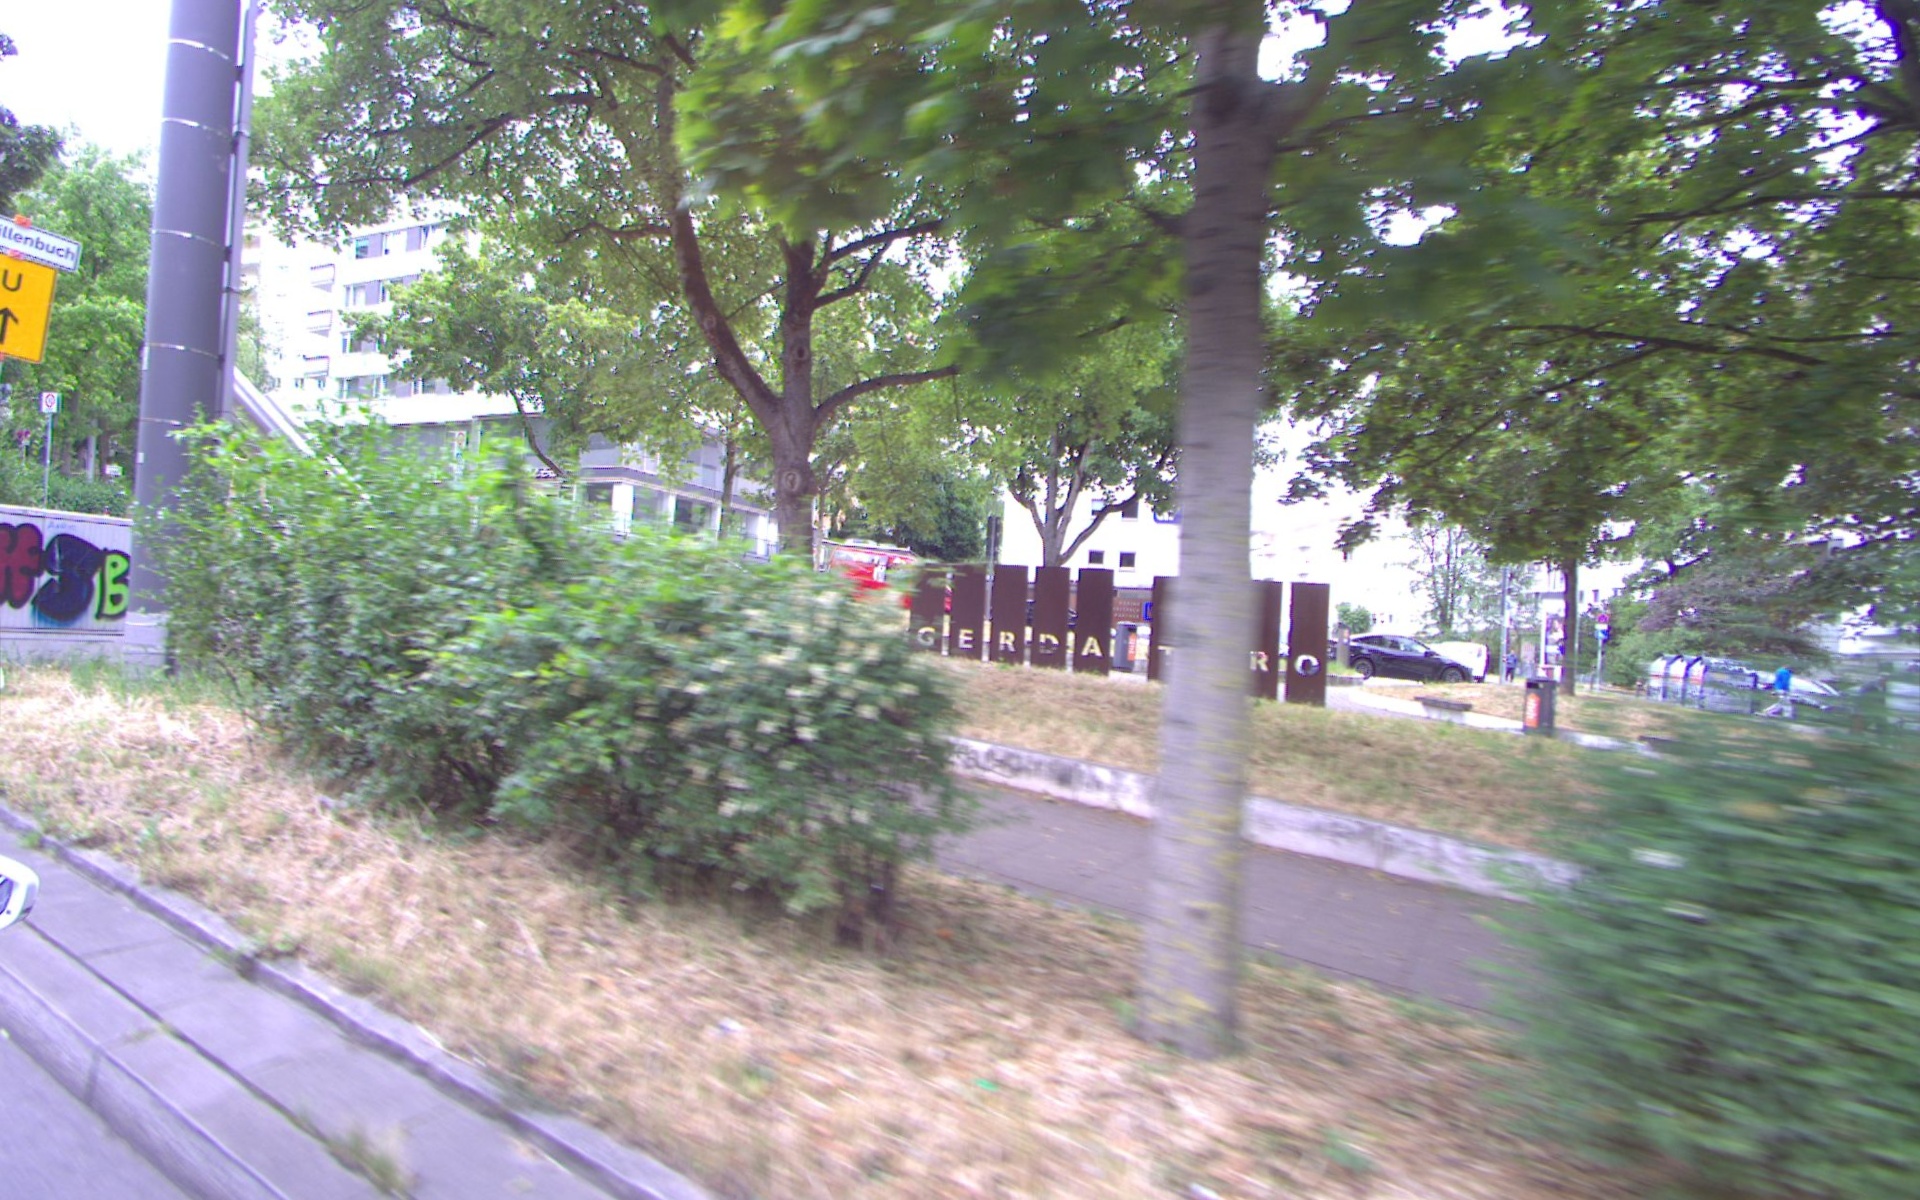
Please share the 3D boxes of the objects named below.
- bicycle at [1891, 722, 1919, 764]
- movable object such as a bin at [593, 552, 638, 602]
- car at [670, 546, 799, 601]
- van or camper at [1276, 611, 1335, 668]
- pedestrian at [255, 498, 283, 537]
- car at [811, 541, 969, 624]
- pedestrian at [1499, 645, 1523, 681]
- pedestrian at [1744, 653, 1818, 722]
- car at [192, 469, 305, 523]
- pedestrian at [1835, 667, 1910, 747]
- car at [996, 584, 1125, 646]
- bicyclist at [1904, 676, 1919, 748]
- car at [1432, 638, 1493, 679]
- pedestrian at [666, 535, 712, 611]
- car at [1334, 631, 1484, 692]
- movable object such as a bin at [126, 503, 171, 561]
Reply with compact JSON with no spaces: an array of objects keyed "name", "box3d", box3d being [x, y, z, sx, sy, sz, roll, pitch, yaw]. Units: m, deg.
[{"name":"bicycle","box3d":[21.898,3.278,22.809,0.510,0.869,1.543,7,0,19]},{"name":"movable object such as a bin","box3d":[-8.211,-0.548,23.962,0.599,1.094,0.670,4,-3,32]},{"name":"car","box3d":[-7.638,-0.892,34.279,3.848,1.293,1.622,6,-3,4]},{"name":"van or camper","box3d":[17.011,2.024,49.752,2.257,2.255,5.451,5,-4,16]},{"name":"pedestrian","box3d":[-29.480,-3.508,42.911,0.665,1.519,0.559,7,1,5]},{"name":"car","box3d":[-2.319,-0.561,34.080,4.888,2.050,2.033,7,-3,4]},{"name":"pedestrian","box3d":[28.706,3.294,52.413,0.718,1.767,0.798,6,-3,11]},{"name":"pedestrian","box3d":[24.027,2.544,29.465,1.138,1.845,1.026,6,0,7]},{"name":"car","box3d":[-35.992,-5.235,51.023,1.964,2.039,4.140,7,0,24]},{"name":"pedestrian","box3d":[21.170,2.461,23.357,0.861,1.722,0.880,7,0,20]},{"name":"car","box3d":[3.306,0.519,33.701,4.071,1.524,1.756,6,-3,3]},{"name":"bicyclist","box3d":[21.984,2.564,22.822,0.504,1.622,0.596,7,1,20]},{"name":"car","box3d":[25.656,3.026,51.495,1.953,1.702,4.007,5,-4,16]},{"name":"pedestrian","box3d":[-5.878,-0.578,21.799,0.609,1.562,0.549,7,1,29]},{"name":"car","box3d":[14.764,2.047,33.243,4.070,1.514,1.756,6,-3,5]},{"name":"movable object such as a bin","box3d":[-16.590,-1.391,20.568,0.556,1.108,0.494,7,1,31]}]
